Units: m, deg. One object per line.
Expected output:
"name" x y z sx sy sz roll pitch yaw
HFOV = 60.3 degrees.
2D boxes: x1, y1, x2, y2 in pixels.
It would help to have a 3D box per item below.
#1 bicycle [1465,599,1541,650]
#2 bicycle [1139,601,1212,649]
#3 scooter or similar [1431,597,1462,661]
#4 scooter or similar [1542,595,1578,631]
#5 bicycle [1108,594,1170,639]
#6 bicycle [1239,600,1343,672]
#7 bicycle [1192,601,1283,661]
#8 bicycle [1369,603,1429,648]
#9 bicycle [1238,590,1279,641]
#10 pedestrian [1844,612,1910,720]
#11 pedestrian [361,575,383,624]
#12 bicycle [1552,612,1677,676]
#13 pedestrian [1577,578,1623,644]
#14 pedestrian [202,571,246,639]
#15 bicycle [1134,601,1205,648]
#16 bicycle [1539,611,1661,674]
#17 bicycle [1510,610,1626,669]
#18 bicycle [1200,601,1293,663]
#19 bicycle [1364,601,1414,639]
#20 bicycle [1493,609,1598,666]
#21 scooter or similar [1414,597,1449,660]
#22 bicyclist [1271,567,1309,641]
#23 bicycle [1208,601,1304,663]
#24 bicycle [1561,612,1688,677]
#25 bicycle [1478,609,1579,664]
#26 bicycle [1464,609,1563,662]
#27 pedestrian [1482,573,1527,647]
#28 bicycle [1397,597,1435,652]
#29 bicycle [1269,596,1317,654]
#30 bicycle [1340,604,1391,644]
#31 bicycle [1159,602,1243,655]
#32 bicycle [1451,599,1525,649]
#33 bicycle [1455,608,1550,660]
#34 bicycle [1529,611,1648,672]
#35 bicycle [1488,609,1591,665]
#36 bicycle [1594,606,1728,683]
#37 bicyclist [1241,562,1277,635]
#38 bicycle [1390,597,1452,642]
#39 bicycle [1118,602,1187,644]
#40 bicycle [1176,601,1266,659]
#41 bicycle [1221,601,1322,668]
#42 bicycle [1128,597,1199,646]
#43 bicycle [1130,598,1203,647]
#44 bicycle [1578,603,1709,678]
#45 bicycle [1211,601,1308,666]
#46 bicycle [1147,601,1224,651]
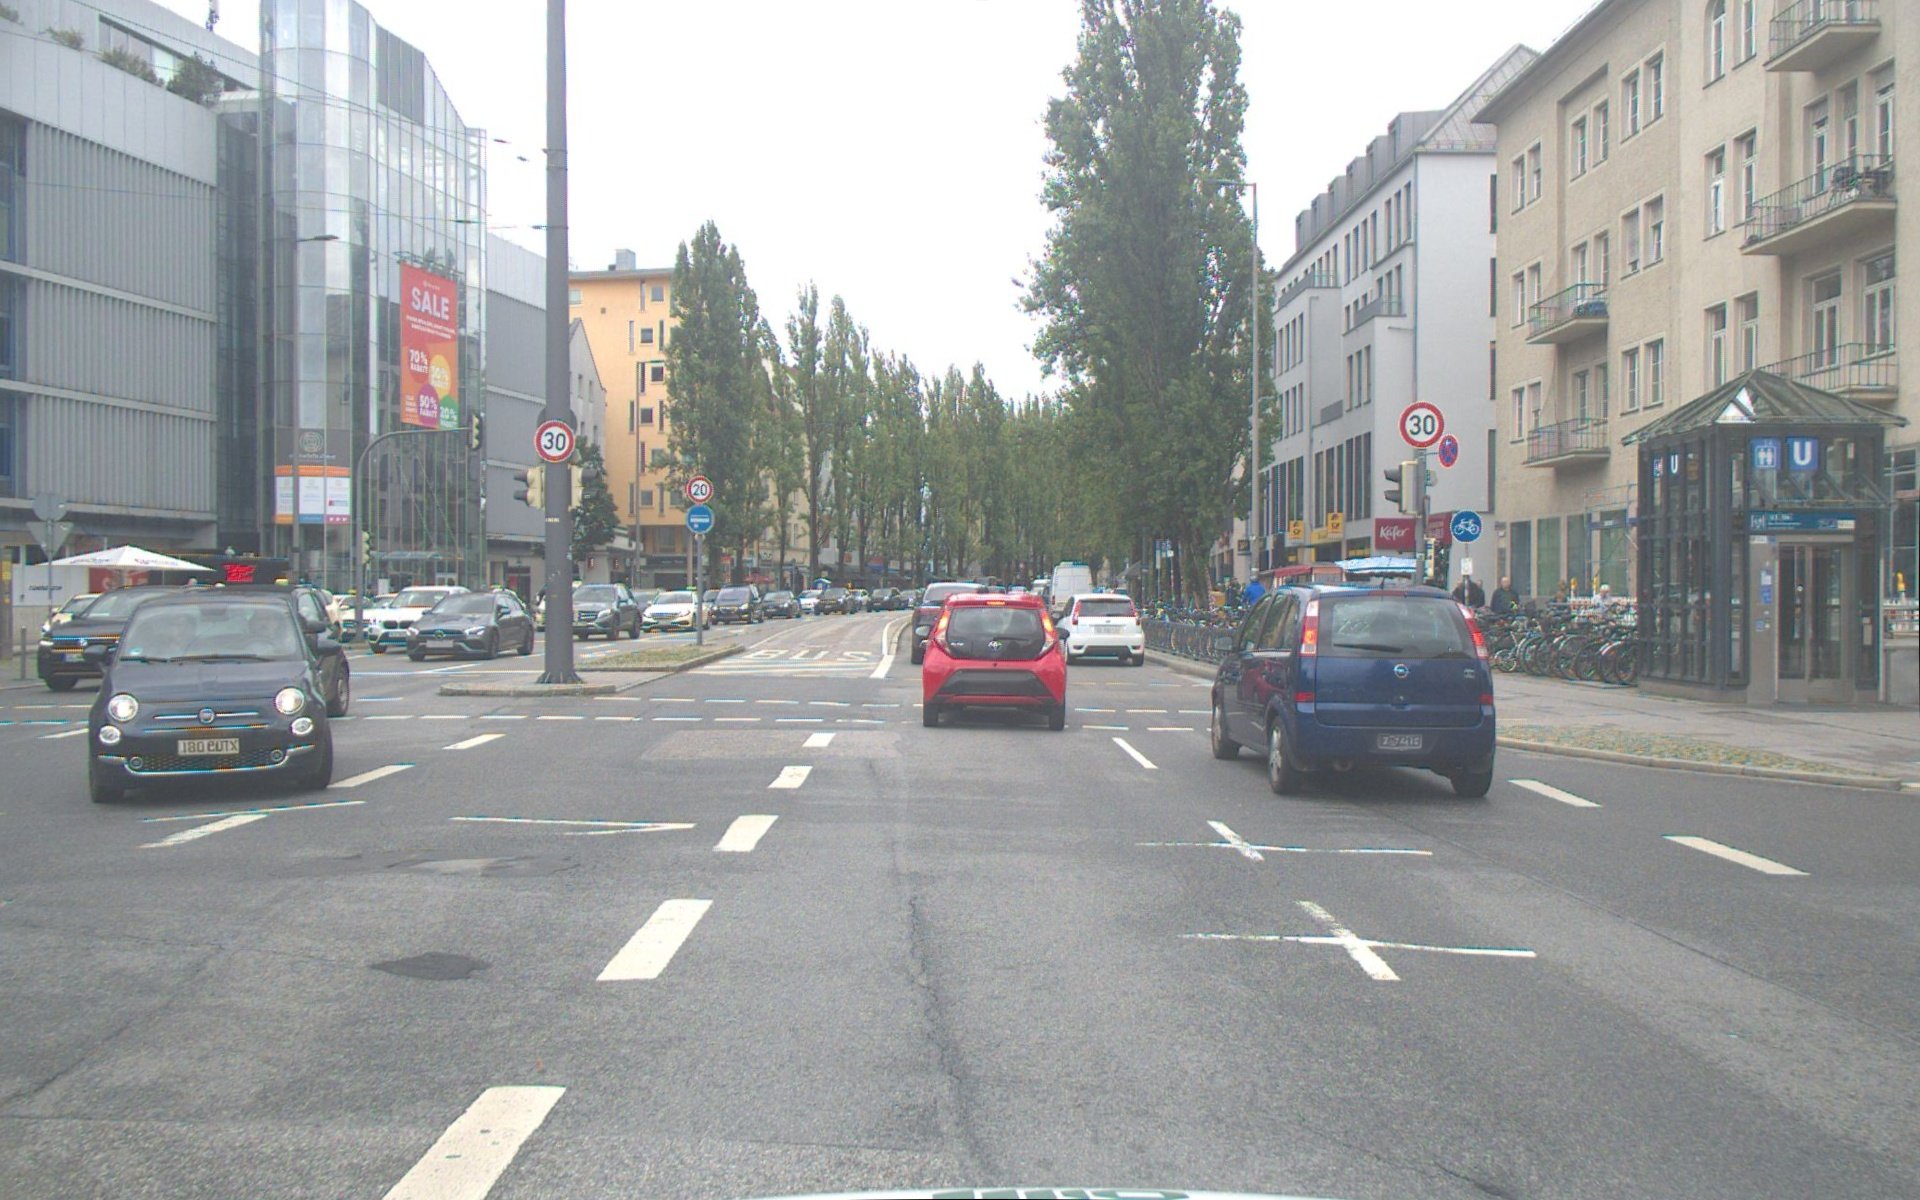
"bicycle" 11.936 0.536 36.351 1.518 1.094 0.451 0 0 0
"bicycle" 5.232 0.593 40.223 1.773 1.130 0.583 0 1 42
"scooter or similar" 9.407 0.555 31.948 0.294 1.196 1.275 0 0 29
"scooter or similar" 16.290 0.343 44.913 0.524 0.960 1.124 -1 1 -2
"bicycle" 5.181 0.472 47.900 1.805 1.263 0.583 0 1 42
"bicycle" 5.810 0.622 29.089 1.773 1.219 0.555 0 1 43
"bicycle" 5.581 0.615 33.286 1.765 1.178 0.486 0 0 30
"bicycle" 10.069 0.588 37.937 1.287 1.017 0.369 0 0 0
"bicycle" 7.915 0.388 43.952 0.601 1.287 2.519 0 1 0
"pedestrian" 14.821 1.052 26.746 0.644 1.699 0.721 -1 0 0
"pedestrian" -22.193 -0.033 62.434 0.545 1.849 0.628 0 0 10
"bicycle" 10.434 0.691 26.387 1.801 0.981 0.508 0 0 -3
"pedestrian" 15.336 0.259 39.633 0.762 1.544 0.758 -1 0 -3
"pedestrian" -18.726 0.130 42.089 0.754 1.720 0.752 0 0 4
"bicycle" 5.168 0.586 40.887 1.773 1.130 0.488 0 1 42
"bicycle" 10.440 0.687 27.008 1.801 0.981 0.508 0 0 -3
"bicycle" 10.420 0.677 28.365 1.801 0.981 0.508 0 0 -3
"bicycle" 5.648 0.624 32.633 1.765 1.178 0.486 0 0 29
"bicycle" 11.335 0.524 43.700 1.219 0.998 0.369 0 0 -4
"bicycle" 10.418 0.664 29.443 1.719 0.981 0.453 0 0 -3
"scooter or similar" 9.216 0.546 32.306 0.357 1.196 1.345 0 0 29
"bicyclist" 7.673 0.079 38.490 0.601 1.686 1.251 0 0 0
"bicycle" 5.724 0.608 31.973 1.763 1.178 0.486 0 0 25
"bicycle" 10.375 0.692 25.854 1.801 0.981 0.508 0 0 -3
"bicycle" 10.523 0.674 30.612 1.719 0.981 0.453 0 0 -3
"bicycle" 10.424 0.667 31.170 1.718 0.981 0.453 0 0 0
"pedestrian" 13.071 0.232 39.717 0.796 1.758 0.758 -1 0 -1
"bicycle" 10.021 0.523 36.339 0.361 1.161 1.720 0 0 31
"bicycle" 7.702 0.556 38.318 0.601 1.287 2.519 0 1 0
"bicycle" 10.041 0.587 40.958 1.157 0.980 0.369 0 0 -3
"bicycle" 5.349 0.619 36.721 1.769 1.130 0.649 0 1 36
"bicycle" 11.798 0.537 36.978 1.520 1.094 0.451 0 0 -5
"bicycle" 10.450 0.657 31.863 1.718 0.981 0.369 0 0 0
"bicycle" 10.460 0.684 27.540 1.801 0.981 0.508 0 0 -3
"bicycle" 10.484 0.663 29.949 1.719 0.981 0.453 0 0 -3
"bicycle" 10.460 0.652 24.698 1.801 1.113 0.508 0 0 -3
"bicyclist" 7.934 -0.053 43.975 0.747 1.902 1.133 0 0 0
"bicycle" 11.481 0.474 41.203 1.472 1.094 0.368 -1 0 -8
"bicycle" 5.087 0.588 43.739 1.805 1.070 0.583 0 1 42
"bicycle" 5.454 0.613 34.661 1.768 1.178 0.650 0 1 35
"bicycle" 5.732 0.618 30.481 1.769 1.178 0.546 0 1 37
"bicycle" 5.193 0.527 42.333 1.805 1.218 0.583 0 1 42
"bicycle" 5.177 0.550 41.550 1.805 1.188 0.583 0 1 42
"bicycle" 10.429 0.618 25.264 1.801 1.113 0.508 0 0 -3
"bicycle" 5.634 0.610 31.162 1.769 1.178 0.546 0 1 37
"bicycle" 5.283 0.604 38.796 1.772 1.130 0.559 0 1 41
